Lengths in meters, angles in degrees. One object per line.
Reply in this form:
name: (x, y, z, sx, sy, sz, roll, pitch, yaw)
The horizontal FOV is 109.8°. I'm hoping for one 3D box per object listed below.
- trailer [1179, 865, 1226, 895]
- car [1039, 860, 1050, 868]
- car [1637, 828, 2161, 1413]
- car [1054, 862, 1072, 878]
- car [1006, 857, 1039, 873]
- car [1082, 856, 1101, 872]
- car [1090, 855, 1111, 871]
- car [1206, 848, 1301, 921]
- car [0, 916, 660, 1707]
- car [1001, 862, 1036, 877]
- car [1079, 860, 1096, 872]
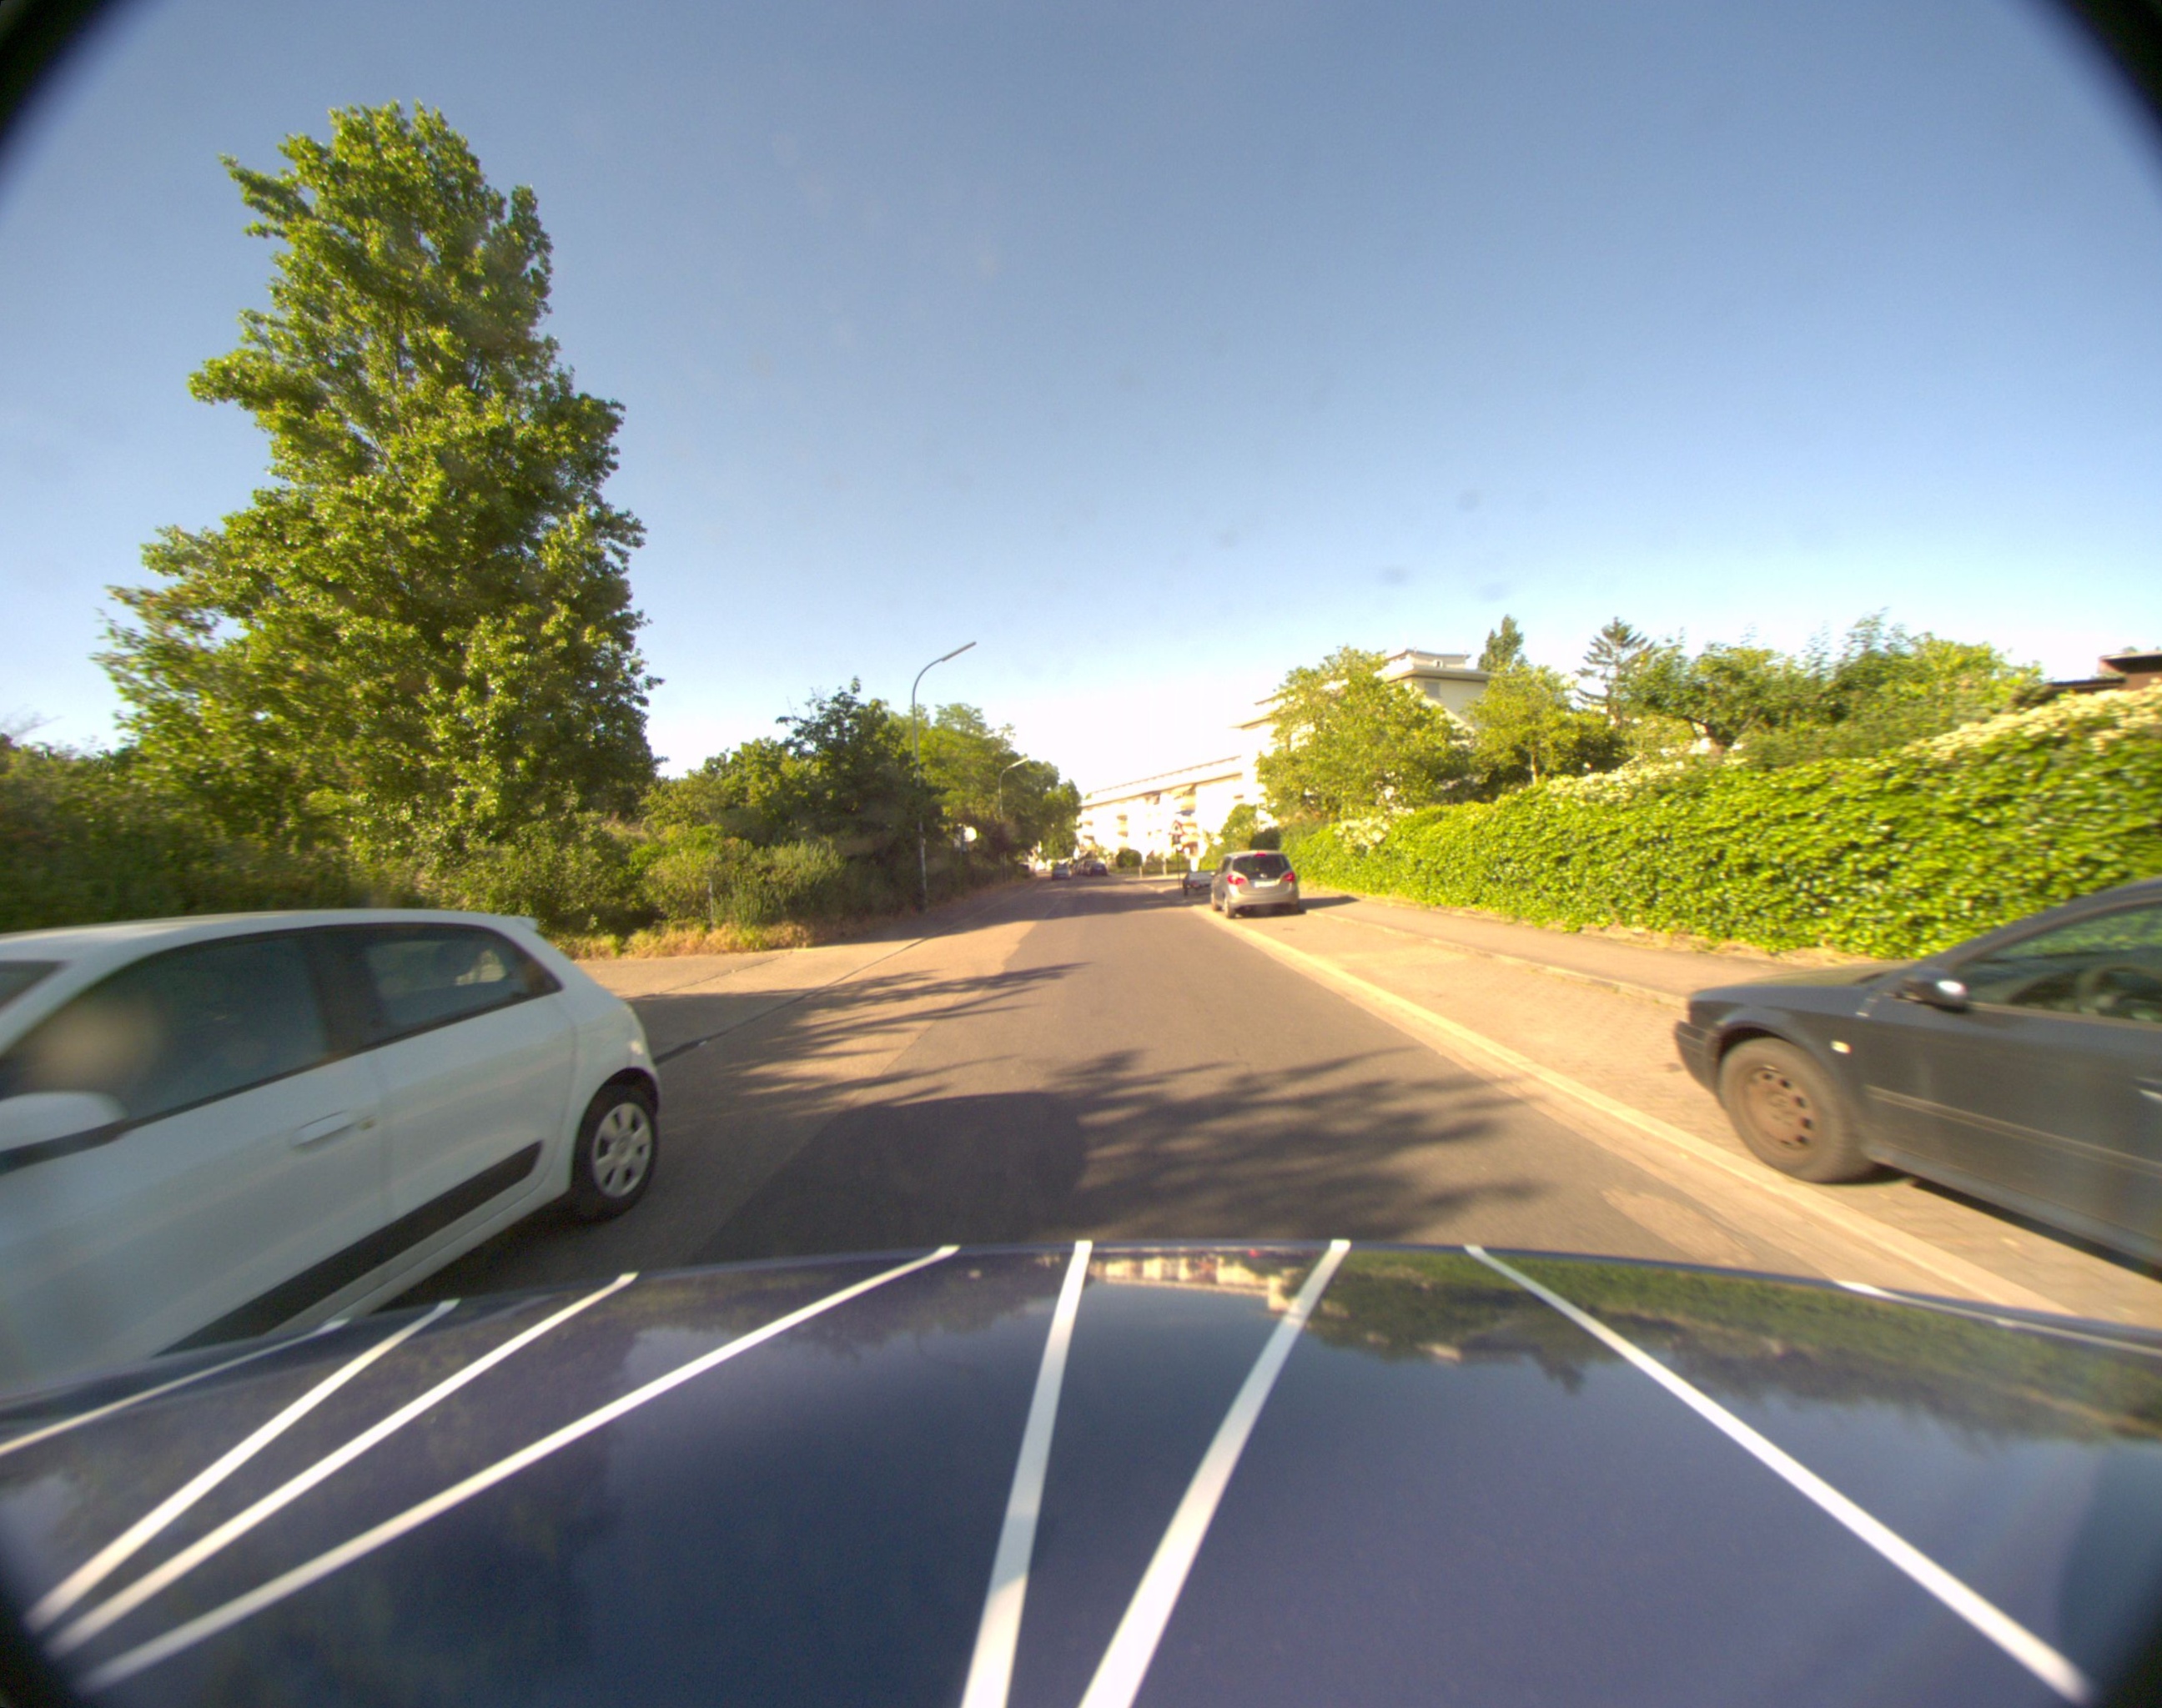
trailer: (4.752, 1.001, 29.999, 1.547, 0.948, 2.648, -5, 0, 4)
car: (-9.046, 2.586, 188.797, 2.008, 1.837, 4.613, -5, 0, -9)
car: (3.841, 0.750, 1.867, 1.647, 1.547, 4.418, -7, 0, 1)
car: (-1.615, 1.438, 70.480, 1.597, 1.417, 4.171, 0, 0, 0)
car: (-8.127, 1.522, 105.282, 4.464, 2.004, 2.021, -2, 0, -3)
car: (1.271, 1.223, 91.488, 1.845, 1.770, 4.887, -2, 0, -4)
car: (1.962, 0.941, 78.285, 1.732, 1.455, 4.681, -2, -1, -4)
car: (4.352, 0.712, 19.807, 1.647, 1.590, 4.312, -4, 0, 4)
car: (-3.036, 1.143, 2.096, 1.559, 1.529, 3.556, -5, 0, 2)
car: (-7.625, 1.920, 92.620, 4.159, 1.685, 1.775, -2, 0, -2)
car: (0.821, 1.543, 97.497, 1.845, 1.473, 4.573, 0, -1, -5)
